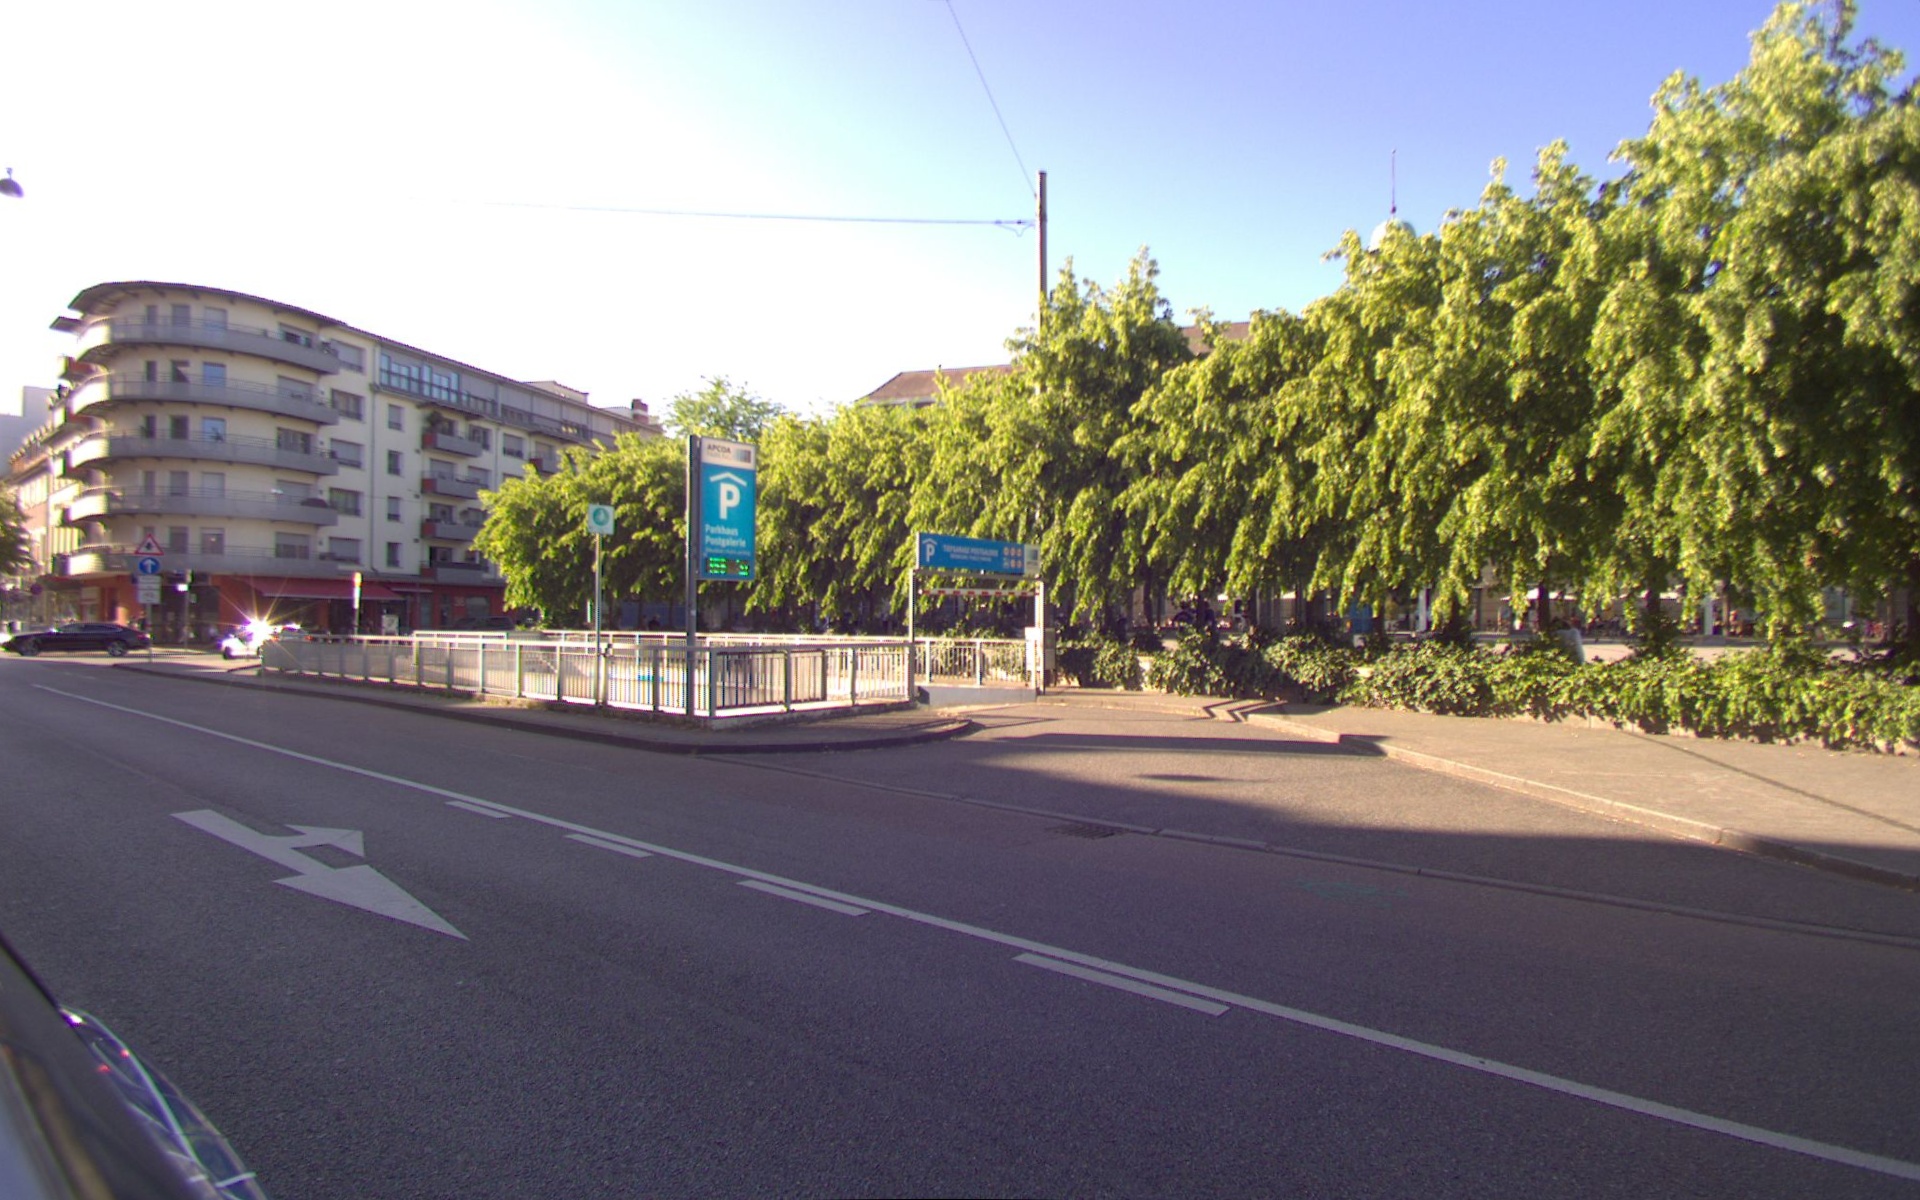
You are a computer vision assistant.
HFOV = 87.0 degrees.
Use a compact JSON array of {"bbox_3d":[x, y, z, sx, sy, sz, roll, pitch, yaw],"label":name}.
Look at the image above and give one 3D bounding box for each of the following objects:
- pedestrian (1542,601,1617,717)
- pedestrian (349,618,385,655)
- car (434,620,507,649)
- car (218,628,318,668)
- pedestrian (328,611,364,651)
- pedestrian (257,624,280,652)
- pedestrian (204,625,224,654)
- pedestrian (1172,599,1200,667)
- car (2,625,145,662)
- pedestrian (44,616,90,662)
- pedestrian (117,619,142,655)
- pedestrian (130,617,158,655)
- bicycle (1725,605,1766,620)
[{"bbox_3d":[9.775,0.907,15.969,0.885,1.771,0.738,0,-1,-39],"label":"pedestrian"},{"bbox_3d":[-32.562,1.992,55.566,1.251,2.029,1.226,-1,-1,19],"label":"pedestrian"},{"bbox_3d":[-30.520,2.126,63.194,1.983,1.763,3.977,-1,-1,17],"label":"car"},{"bbox_3d":[-27.295,1.858,39.883,4.238,1.445,1.783,-1,-1,33],"label":"car"},{"bbox_3d":[-31.597,1.565,52.079,1.297,2.029,1.299,0,-1,-18],"label":"pedestrian"},{"bbox_3d":[-36.729,2.020,53.762,0.782,1.473,0.582,0,-1,3],"label":"pedestrian"},{"bbox_3d":[-37.732,1.982,51.191,0.780,1.472,0.583,0,-1,-40],"label":"pedestrian"},{"bbox_3d":[5.733,0.833,25.673,0.672,1.683,0.843,-1,-1,13],"label":"pedestrian"},{"bbox_3d":[-36.063,1.728,41.338,4.219,1.394,2.004,0,-1,-37],"label":"car"},{"bbox_3d":[-40.749,1.752,46.185,1.008,2.029,1.198,-1,0,4],"label":"pedestrian"},{"bbox_3d":[-39.738,1.775,48.438,0.689,1.719,0.675,-1,-1,-6],"label":"pedestrian"},{"bbox_3d":[-39.624,1.758,49.130,0.746,1.819,0.755,-1,-1,-1],"label":"pedestrian"},{"bbox_3d":[48.895,0.785,63.006,1.894,0.961,0.585,-1,-1,23],"label":"bicycle"}]
